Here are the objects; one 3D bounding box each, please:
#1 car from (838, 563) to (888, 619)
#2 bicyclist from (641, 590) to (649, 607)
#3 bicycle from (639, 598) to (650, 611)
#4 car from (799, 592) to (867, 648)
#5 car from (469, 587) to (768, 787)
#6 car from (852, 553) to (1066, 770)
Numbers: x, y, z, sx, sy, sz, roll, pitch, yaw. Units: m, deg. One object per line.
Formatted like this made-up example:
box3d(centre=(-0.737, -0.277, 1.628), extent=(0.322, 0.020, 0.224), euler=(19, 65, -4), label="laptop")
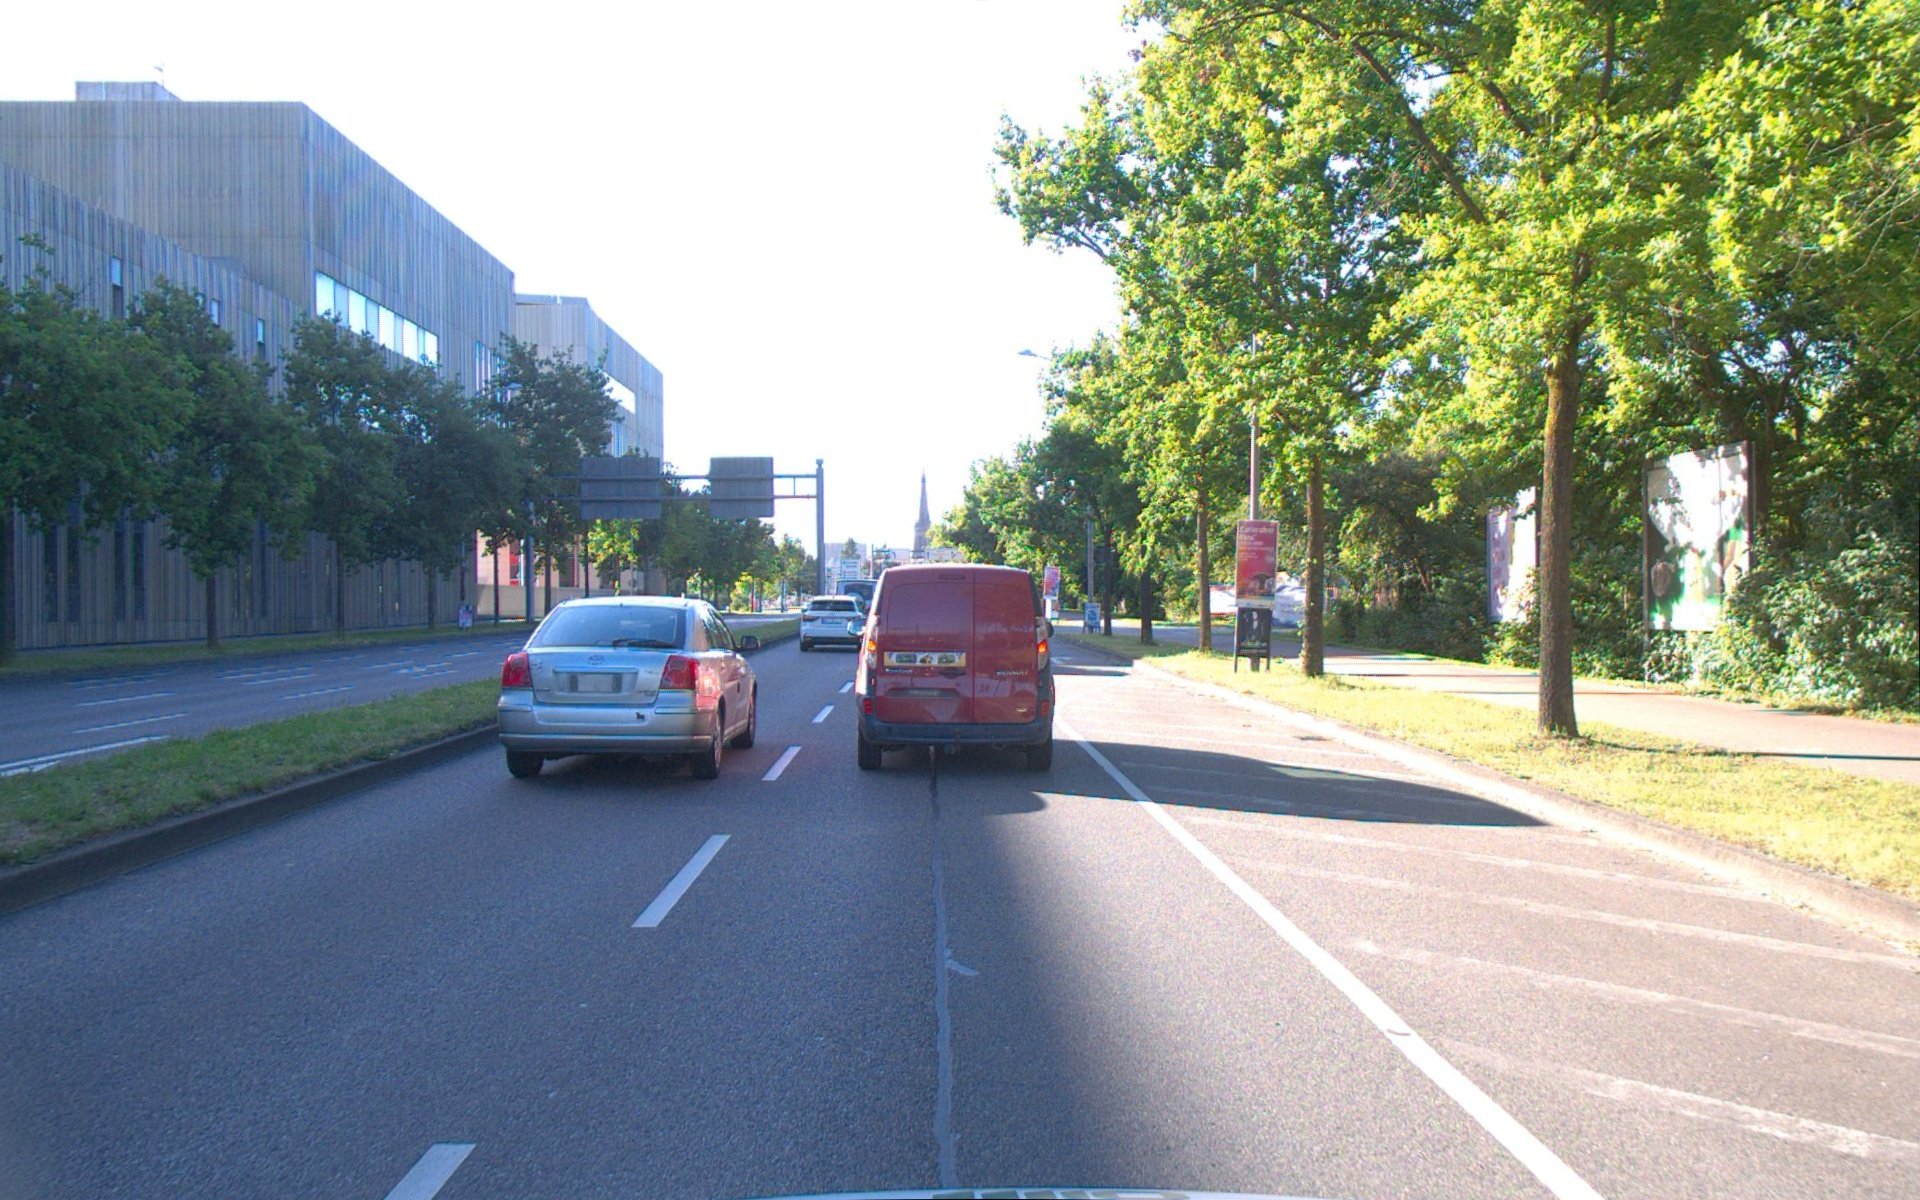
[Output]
box3d(centre=(-3.359, -0.311, 57.865), extent=(1.628, 1.889, 3.557), euler=(0, 0, -2), label="car")
box3d(centre=(-26.376, -0.109, 138.357), extent=(0.551, 1.417, 0.747), euler=(0, -1, -3), label="bicyclist")
box3d(centre=(-26.370, 0.394, 138.343), extent=(0.558, 1.021, 2.095), euler=(0, -1, -2), label="bicycle")
box3d(centre=(-3.336, 0.506, 43.963), extent=(1.628, 1.422, 3.557), euler=(0, 0, -2), label="car")
box3d(centre=(-2.818, 0.662, 14.573), extent=(1.803, 1.482, 4.161), euler=(1, 0, -1), label="car")
box3d(centre=(-0.059, 0.522, 15.840), extent=(1.770, 1.790, 4.004), euler=(1, 0, -2), label="car")
